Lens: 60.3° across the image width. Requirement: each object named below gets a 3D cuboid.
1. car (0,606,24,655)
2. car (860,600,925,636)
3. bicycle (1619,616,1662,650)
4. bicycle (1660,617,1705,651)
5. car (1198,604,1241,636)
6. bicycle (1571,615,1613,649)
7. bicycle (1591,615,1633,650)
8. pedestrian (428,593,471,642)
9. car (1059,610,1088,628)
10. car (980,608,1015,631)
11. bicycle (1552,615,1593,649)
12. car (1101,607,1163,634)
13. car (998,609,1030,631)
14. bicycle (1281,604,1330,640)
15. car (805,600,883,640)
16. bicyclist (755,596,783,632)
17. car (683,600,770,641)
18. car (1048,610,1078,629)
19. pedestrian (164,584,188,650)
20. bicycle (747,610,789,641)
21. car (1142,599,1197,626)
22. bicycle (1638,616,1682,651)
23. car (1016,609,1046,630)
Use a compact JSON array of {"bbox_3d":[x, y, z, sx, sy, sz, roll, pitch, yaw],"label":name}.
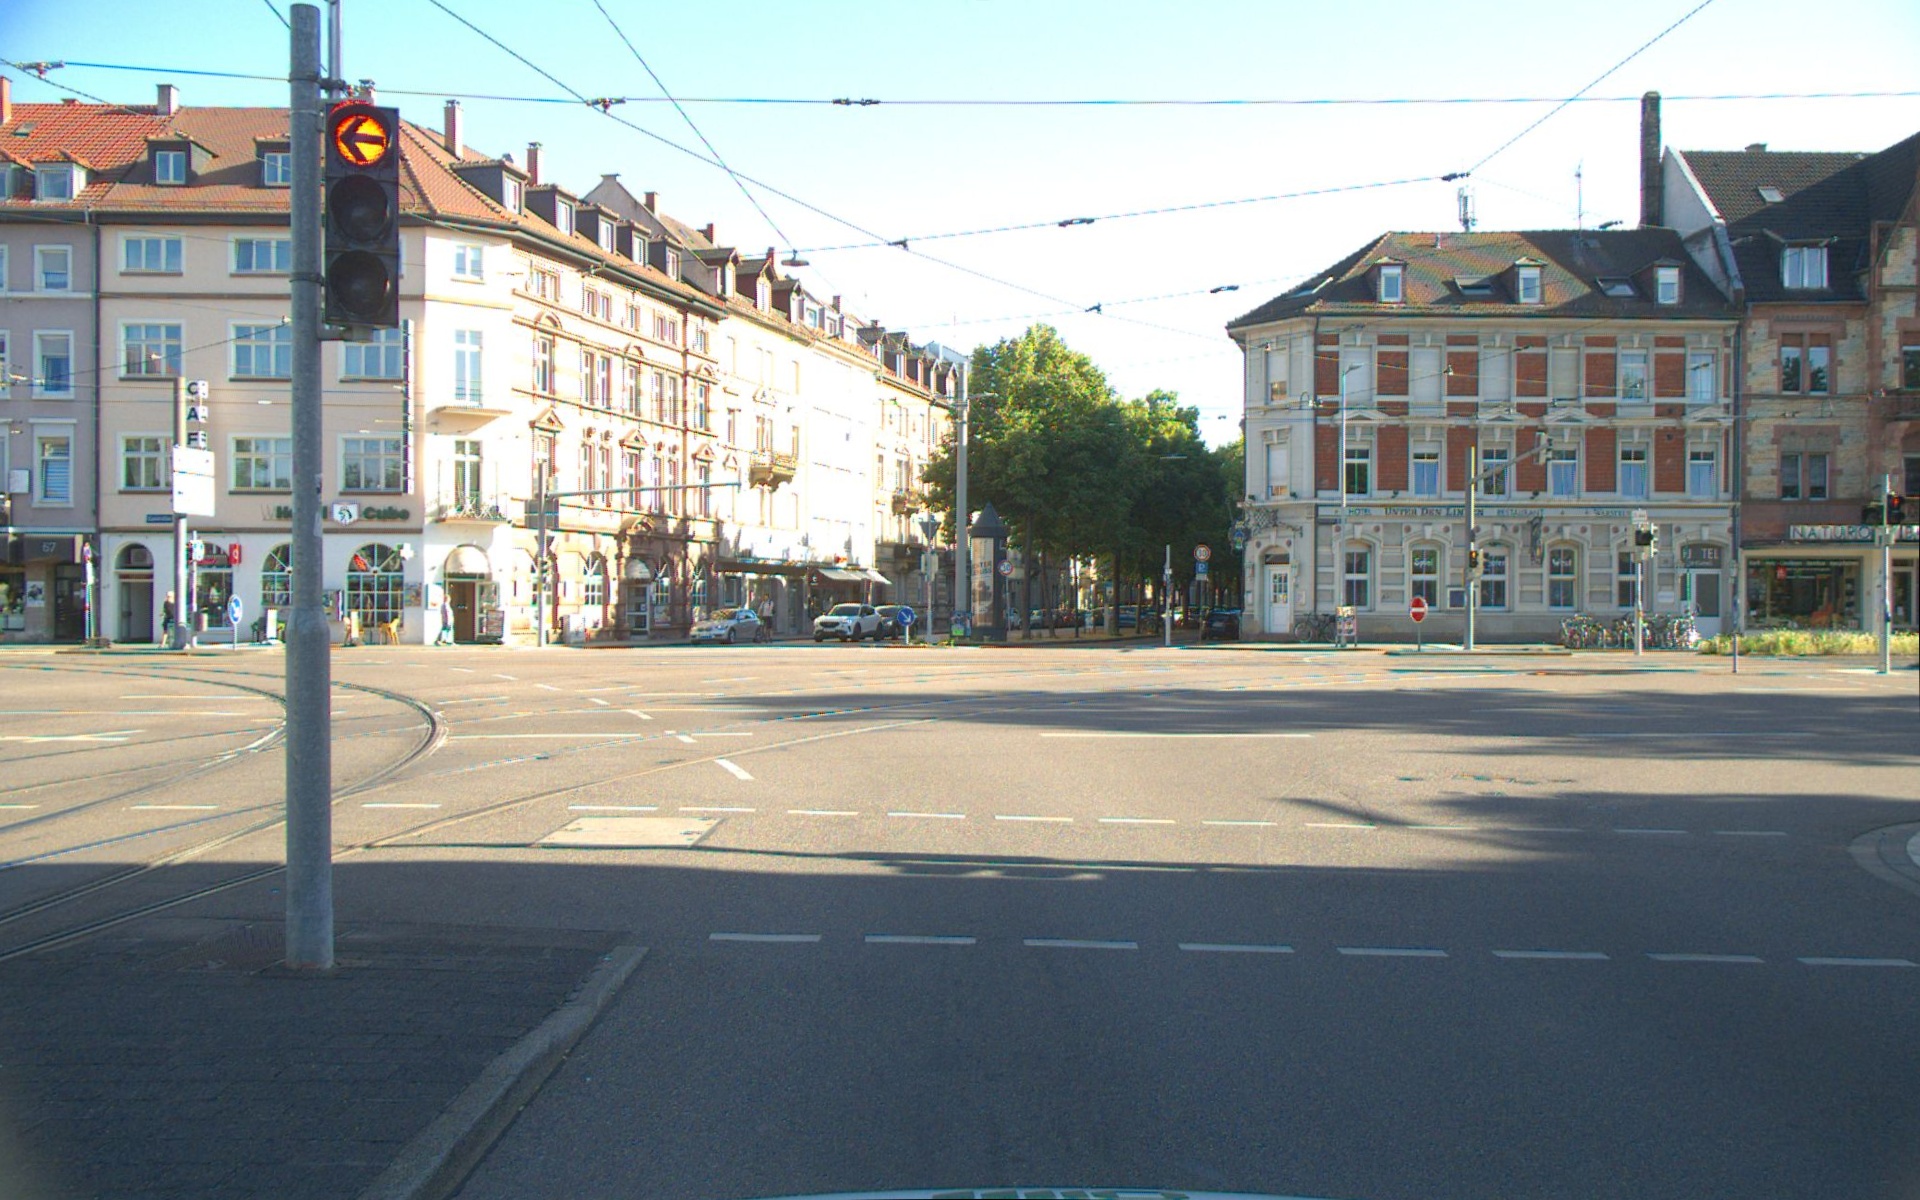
[{"bbox_3d":[-32.069,0.997,52.161,3.910,1.489,1.998,-1,1,-6],"label":"car"},{"bbox_3d":[-2.965,0.796,73.479,1.951,1.540,4.004,0,0,11],"label":"car"},{"bbox_3d":[21.938,1.060,53.333,0.593,1.069,1.641,0,0,-6],"label":"bicycle"},{"bbox_3d":[23.324,1.084,53.430,0.593,1.069,1.641,0,0,-6],"label":"bicycle"},{"bbox_3d":[12.968,1.002,82.473,1.616,1.551,3.755,0,-1,17],"label":"car"},{"bbox_3d":[20.460,1.036,53.575,0.593,1.069,1.641,0,0,-6],"label":"bicycle"},{"bbox_3d":[21.112,1.047,53.601,0.593,1.069,1.641,0,0,-6],"label":"bicycle"},{"bbox_3d":[-17.209,0.584,55.716,1.059,1.618,1.026,0,0,-42],"label":"pedestrian"},{"bbox_3d":[9.413,1.572,136.509,1.704,1.422,4.127,3,0,13],"label":"car"},{"bbox_3d":[2.519,1.308,110.023,1.704,1.422,4.127,3,0,9],"label":"car"},{"bbox_3d":[19.819,1.024,53.519,0.593,1.069,1.641,0,0,-6],"label":"bicycle"},{"bbox_3d":[11.997,1.400,115.391,4.024,1.675,1.748,3,0,15],"label":"car"},{"bbox_3d":[3.796,1.355,115.847,1.704,1.422,4.127,3,0,9],"label":"car"},{"bbox_3d":[11.970,0.763,57.309,1.603,1.243,0.607,0,0,16],"label":"bicycle"},{"bbox_3d":[-4.657,0.789,67.086,2.052,1.525,4.003,0,0,13],"label":"car"},{"bbox_3d":[-7.565,0.542,65.471,0.776,1.399,1.109,0,0,14],"label":"bicyclist"},{"bbox_3d":[-9.457,0.811,67.227,2.052,1.572,4.367,0,0,13],"label":"car"},{"bbox_3d":[8.236,1.536,131.713,1.704,1.422,4.127,3,0,13],"label":"car"},{"bbox_3d":[-24.672,0.538,52.040,0.498,2.049,0.505,0,0,2],"label":"pedestrian"},{"bbox_3d":[-7.580,0.993,65.501,0.734,1.155,2.812,0,0,14],"label":"bicycle"},{"bbox_3d":[16.950,1.011,133.672,4.026,1.952,1.746,3,0,21],"label":"car"},{"bbox_3d":[22.598,1.072,53.409,0.593,1.069,1.641,0,0,-6],"label":"bicycle"},{"bbox_3d":[5.327,1.411,122.847,1.704,1.422,4.127,3,0,9],"label":"car"}]
